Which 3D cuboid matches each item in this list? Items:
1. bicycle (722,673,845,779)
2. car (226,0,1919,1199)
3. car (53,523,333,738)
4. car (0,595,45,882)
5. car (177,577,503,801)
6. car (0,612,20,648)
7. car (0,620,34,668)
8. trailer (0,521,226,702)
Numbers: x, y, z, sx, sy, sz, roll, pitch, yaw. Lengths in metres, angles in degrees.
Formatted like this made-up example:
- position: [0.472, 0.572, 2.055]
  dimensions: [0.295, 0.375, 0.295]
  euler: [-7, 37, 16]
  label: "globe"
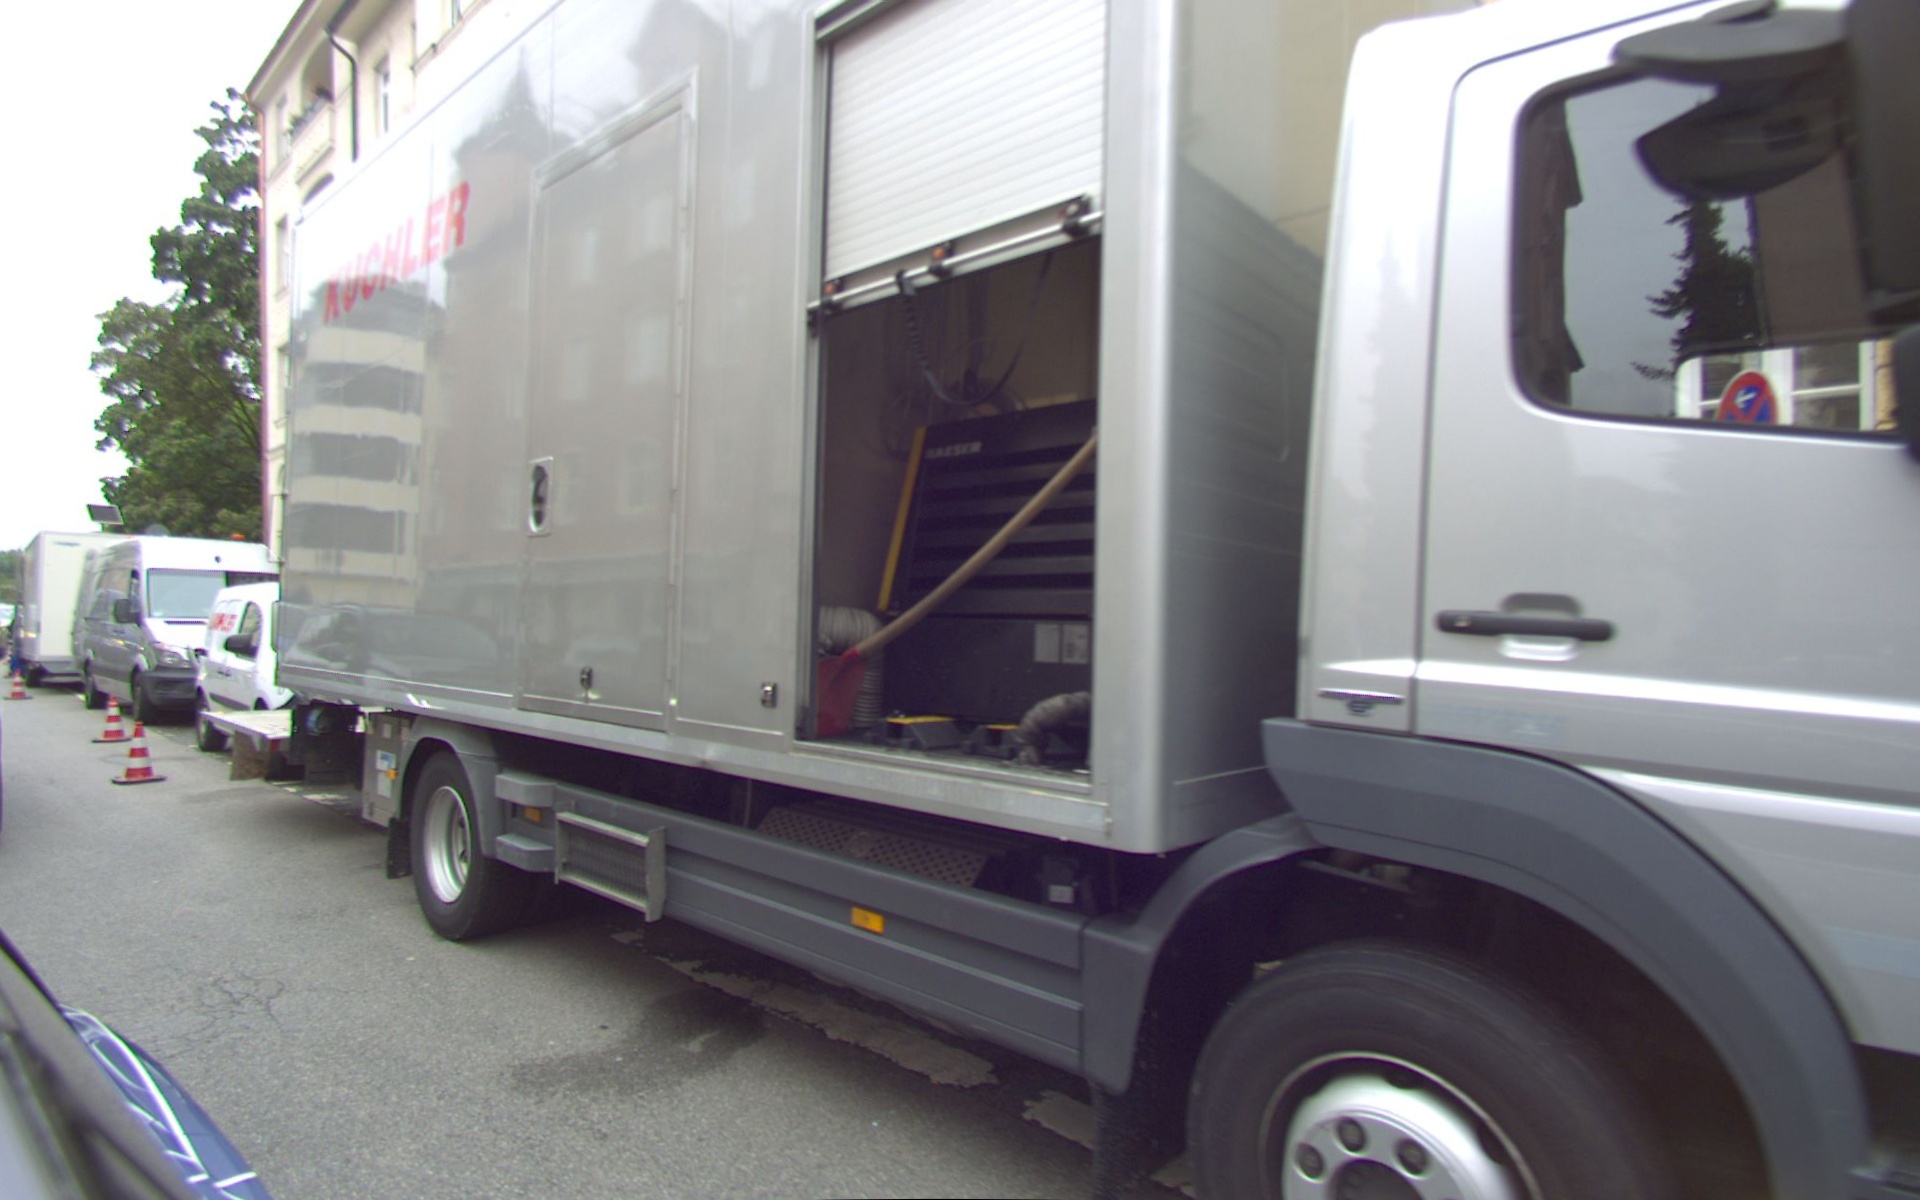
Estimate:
- position: [-2.213, 1.523, 12.546]
  dimensions: [1.766, 1.112, 0.501]
  euler: [-1, 2, 42]
  label: "bicycle"
- position: [-0.445, -0.447, 4.416]
  dimensions: [8.722, 3.846, 2.782]
  euler: [-1, -1, 43]
  label: "car"
- position: [-11.820, 0.492, 15.323]
  dimensions: [6.876, 2.607, 2.033]
  euler: [-1, -5, 43]
  label: "car"
- position: [-7.449, 0.749, 6.243]
  dimensions: [4.287, 1.577, 1.899]
  euler: [0, -1, 37]
  label: "car"
- position: [-6.407, 0.766, 10.235]
  dimensions: [4.327, 1.792, 1.743]
  euler: [-1, -3, 44]
  label: "car"
- position: [-42.310, 1.257, 44.060]
  dimensions: [1.791, 1.474, 4.170]
  euler: [6, -5, -41]
  label: "car"
- position: [-35.114, 1.543, 36.844]
  dimensions: [1.792, 1.601, 4.166]
  euler: [7, -5, -45]
  label: "car"
- position: [-17.319, 0.366, 20.427]
  dimensions: [2.771, 2.992, 7.603]
  euler: [5, -5, -45]
  label: "trailer"
